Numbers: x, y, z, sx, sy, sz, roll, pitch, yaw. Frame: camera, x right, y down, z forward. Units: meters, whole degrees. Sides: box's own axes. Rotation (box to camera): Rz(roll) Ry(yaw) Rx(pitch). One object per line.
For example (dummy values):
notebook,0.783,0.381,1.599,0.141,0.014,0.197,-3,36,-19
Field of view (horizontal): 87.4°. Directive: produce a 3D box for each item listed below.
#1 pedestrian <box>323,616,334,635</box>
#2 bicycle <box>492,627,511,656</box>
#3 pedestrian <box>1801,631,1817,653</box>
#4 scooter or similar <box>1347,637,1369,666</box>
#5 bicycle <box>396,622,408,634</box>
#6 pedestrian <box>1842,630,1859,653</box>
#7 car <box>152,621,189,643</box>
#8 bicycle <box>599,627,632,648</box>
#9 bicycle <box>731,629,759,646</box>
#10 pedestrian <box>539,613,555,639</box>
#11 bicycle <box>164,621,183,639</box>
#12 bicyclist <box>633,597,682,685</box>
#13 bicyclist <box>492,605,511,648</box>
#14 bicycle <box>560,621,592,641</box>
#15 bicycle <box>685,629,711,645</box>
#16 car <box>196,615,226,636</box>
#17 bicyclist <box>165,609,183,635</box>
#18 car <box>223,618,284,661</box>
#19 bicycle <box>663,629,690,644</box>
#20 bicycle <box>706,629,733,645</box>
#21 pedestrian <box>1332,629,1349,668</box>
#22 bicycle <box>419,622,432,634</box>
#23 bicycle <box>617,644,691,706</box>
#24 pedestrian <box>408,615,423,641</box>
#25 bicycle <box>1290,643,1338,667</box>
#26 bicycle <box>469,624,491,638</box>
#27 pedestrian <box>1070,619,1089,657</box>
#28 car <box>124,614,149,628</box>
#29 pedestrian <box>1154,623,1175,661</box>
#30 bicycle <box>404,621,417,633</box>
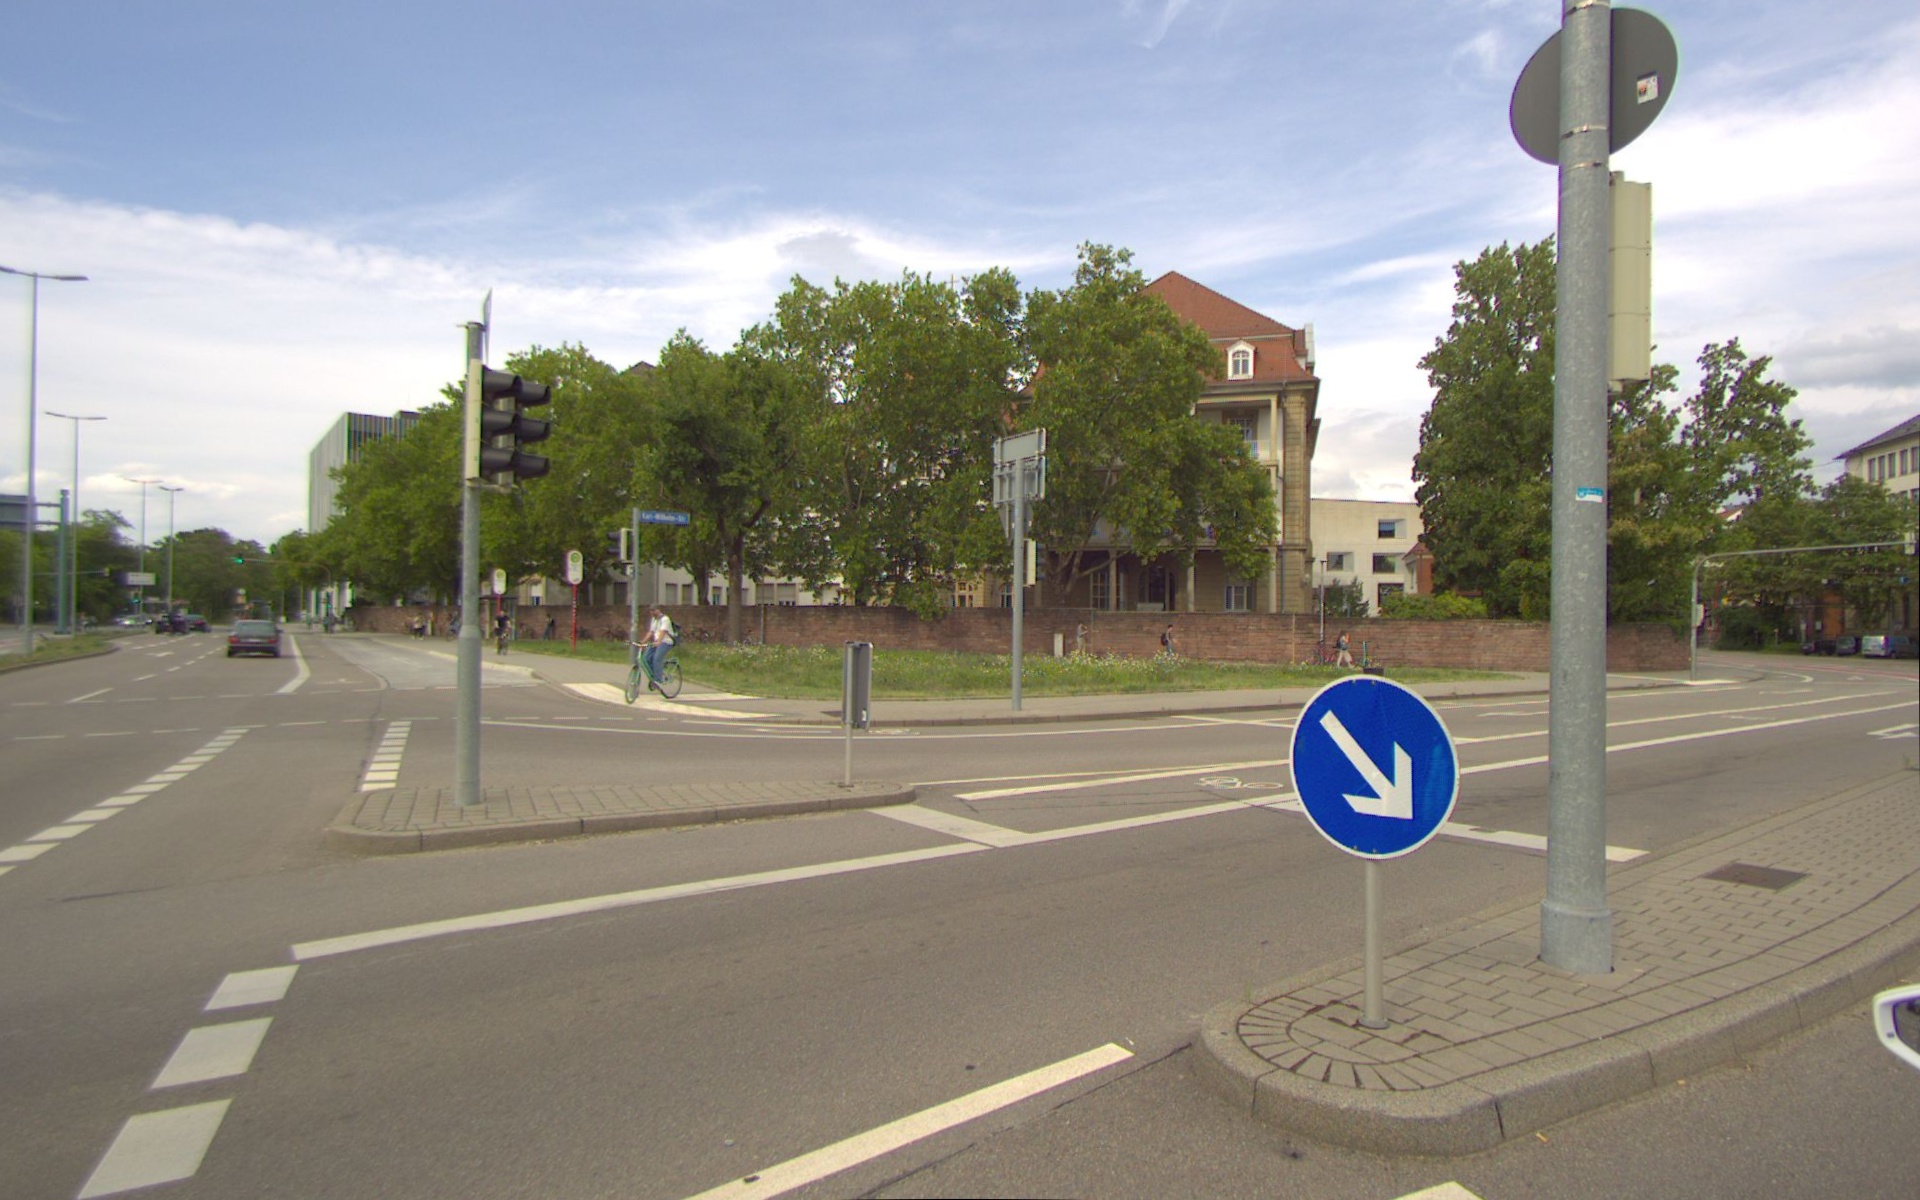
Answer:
pedestrian,-56.644,2.308,90.100,0.749,1.643,0.658,-1,1,-40
bicycle,-17.244,1.545,37.779,0.498,0.948,1.962,1,1,-21
pedestrian,79.605,3.935,94.165,0.873,2.040,1.008,1,-1,27
scooter or similar,17.526,2.254,44.219,0.512,1.154,1.512,0,1,39
bicycle,-45.082,2.258,81.170,1.555,0.899,0.430,-1,2,45
pedestrian,78.133,3.623,88.137,0.873,2.040,1.008,1,-1,27
car,-58.192,2.336,74.072,1.772,1.509,4.090,3,-2,-34
bicycle,-20.731,2.247,60.476,2.063,1.204,0.757,0,-3,34
bicycle,-11.866,2.053,55.426,1.678,0.875,0.358,0,-3,30
pedestrian,-26.414,1.639,64.248,0.742,1.643,0.567,0,1,33
bicycle,-53.714,2.058,68.619,0.750,1.204,2.080,3,-3,-32
bicyclist,-5.606,0.749,18.634,0.568,1.576,0.798,1,1,9
bicyclist,-17.234,1.001,37.769,0.571,1.576,0.794,1,1,-20
bicycle,-23.906,1.933,62.498,2.063,1.204,0.757,0,-3,34
bicycle,-14.870,2.085,56.991,1.780,0.875,0.358,-1,-3,35
car,-59.759,2.026,80.150,1.774,1.509,4.085,4,-2,-38
bicyclist,-53.694,1.508,68.643,0.770,1.733,1.076,3,-3,-32
car,-28.093,1.516,39.883,1.686,1.500,4.366,-1,1,-39
bicycle,-16.381,2.099,57.996,1.791,0.875,0.358,0,-3,33
bicycle,-13.376,2.072,55.898,1.860,0.875,0.357,-1,-3,37
pedestrian,16.538,2.110,43.651,0.617,1.677,0.532,-1,1,16
bicycle,-41.066,2.135,77.149,1.555,0.899,0.430,-1,2,45
bicycle,-5.622,1.356,18.562,0.496,0.948,1.973,1,1,9
pedestrian,-35.489,1.823,65.448,0.749,1.643,0.658,-1,1,-40
bicycle,15.696,2.431,44.574,1.887,1.018,0.780,-1,1,10
bicycle,-33.624,2.165,70.347,1.551,0.899,0.659,-1,1,36
pedestrian,5.448,1.735,45.859,0.766,1.677,0.577,-1,1,1
car,-93.633,2.391,114.216,1.772,1.509,4.090,3,-2,-34
pedestrian,9.061,1.851,44.485,0.767,1.677,0.577,-1,1,-5
bicycle,-43.702,2.153,79.918,1.555,0.899,0.430,-1,2,45
